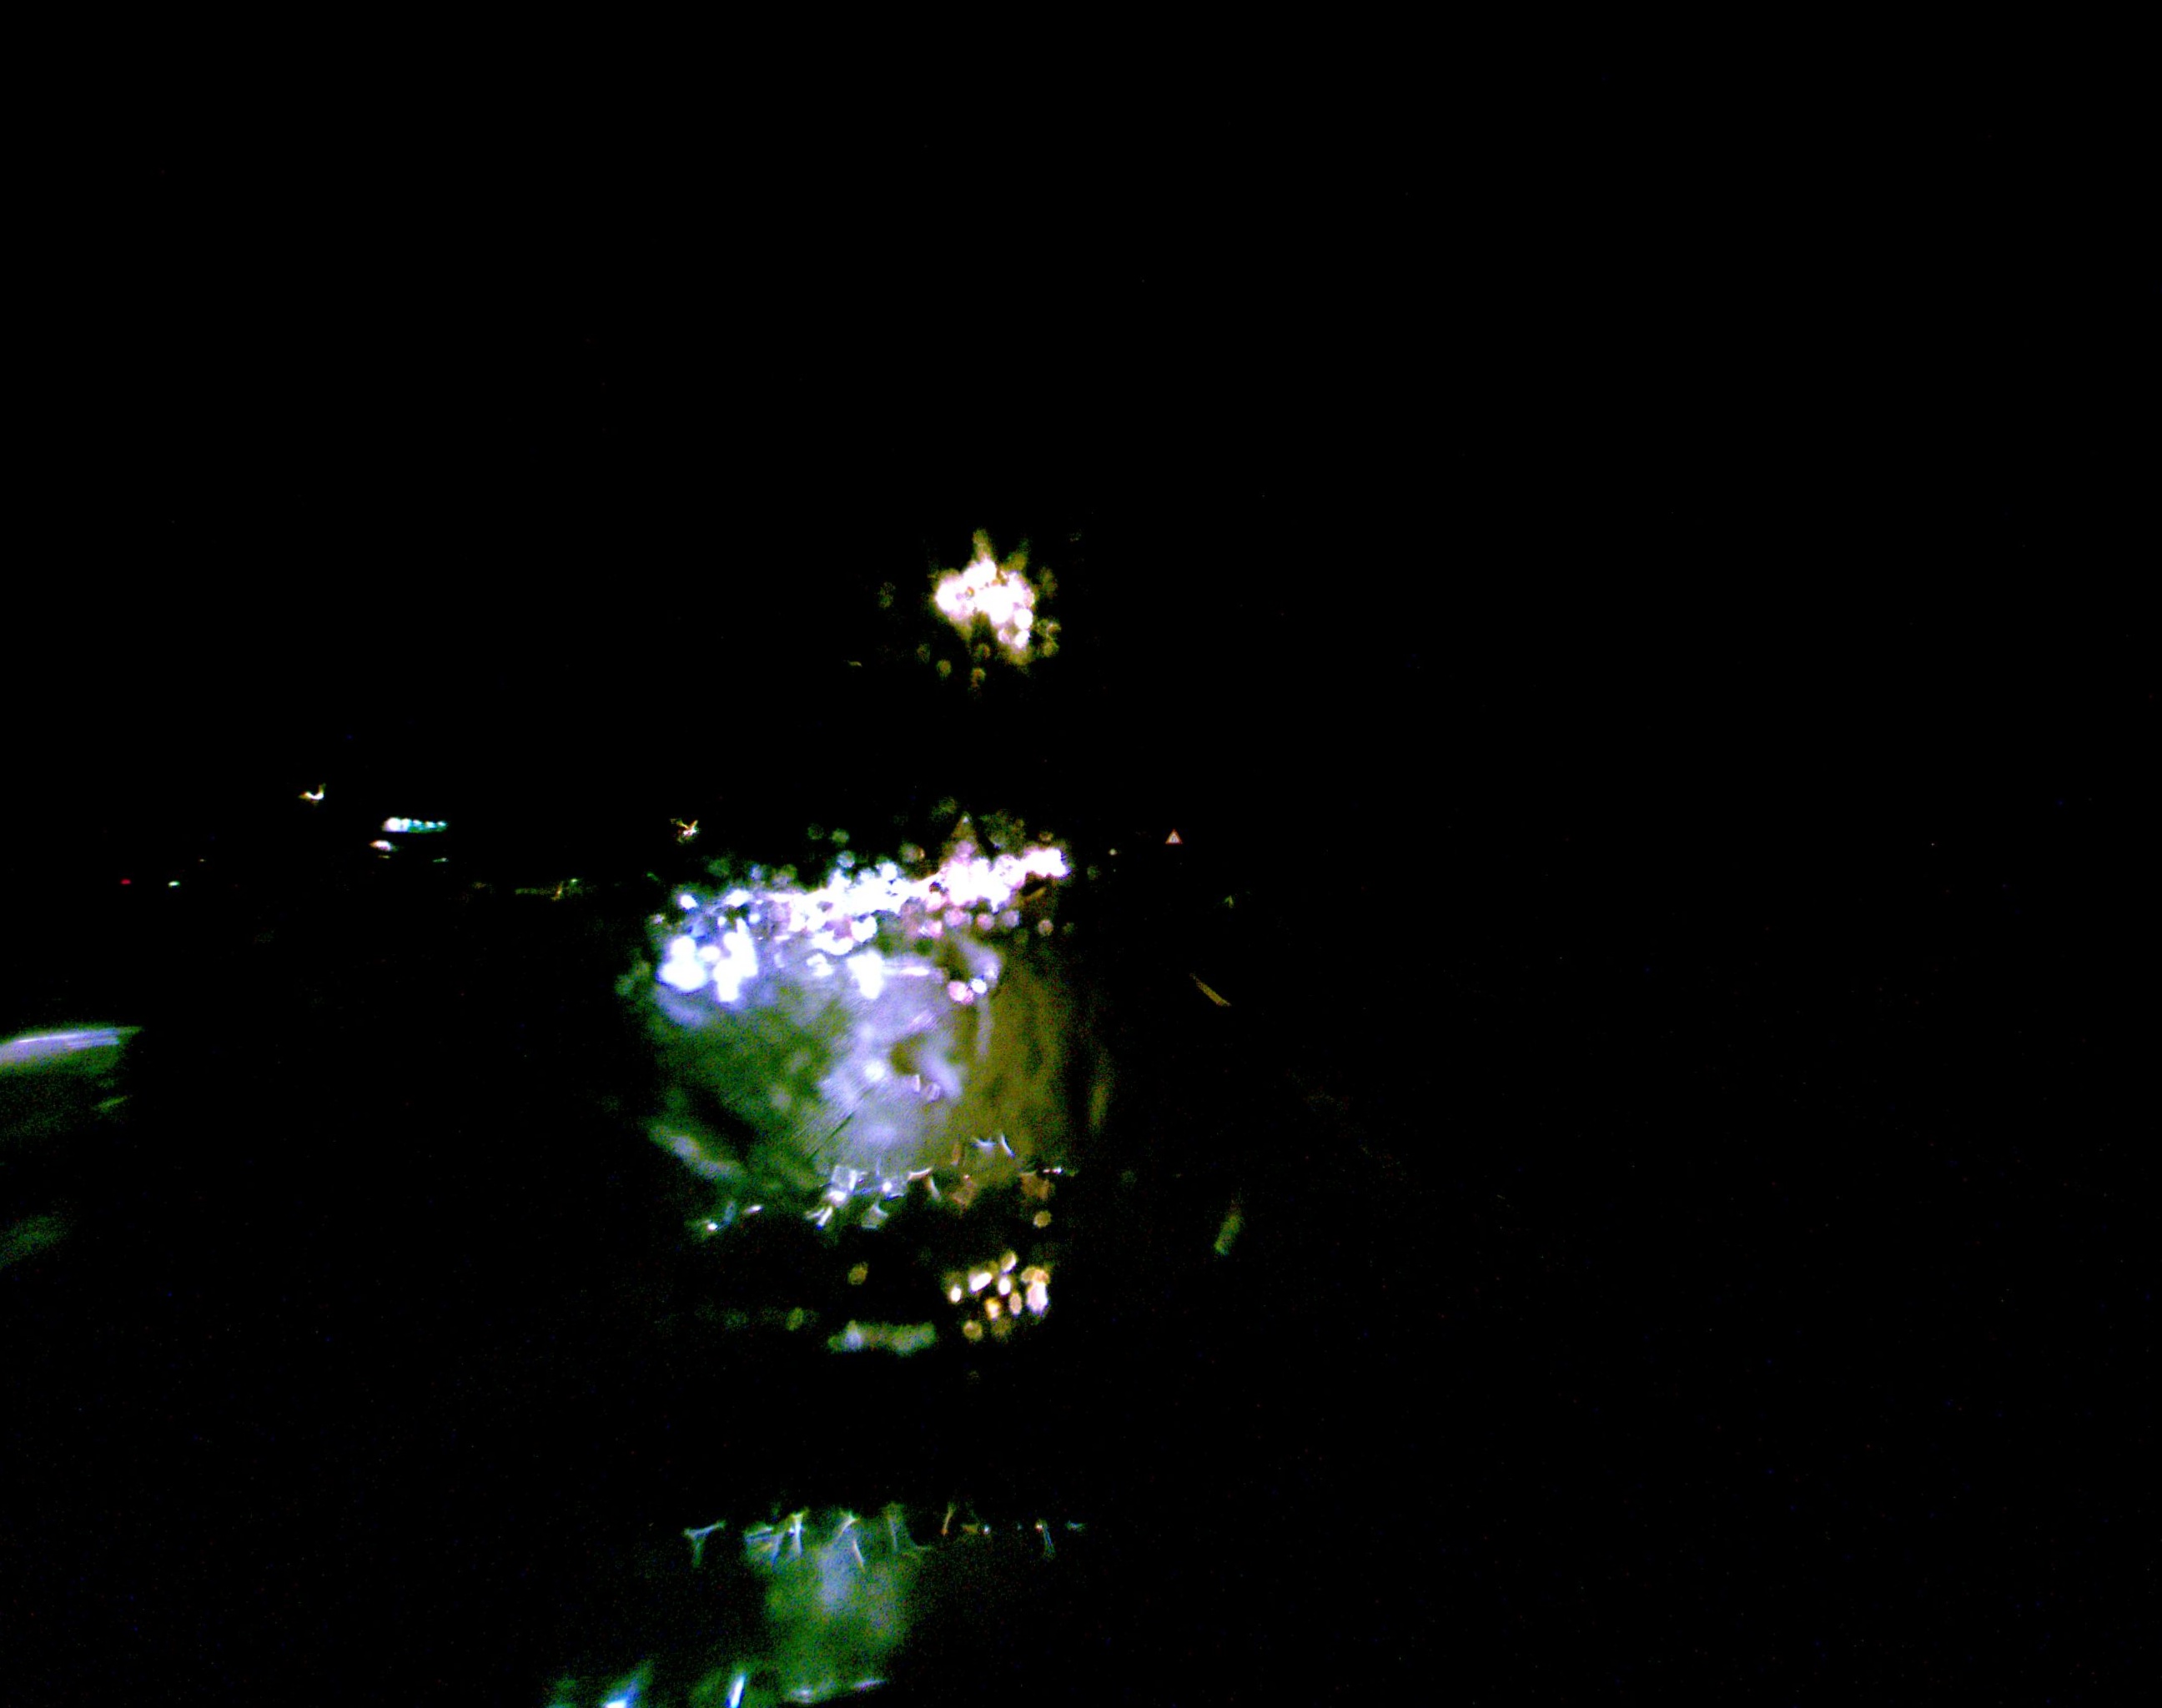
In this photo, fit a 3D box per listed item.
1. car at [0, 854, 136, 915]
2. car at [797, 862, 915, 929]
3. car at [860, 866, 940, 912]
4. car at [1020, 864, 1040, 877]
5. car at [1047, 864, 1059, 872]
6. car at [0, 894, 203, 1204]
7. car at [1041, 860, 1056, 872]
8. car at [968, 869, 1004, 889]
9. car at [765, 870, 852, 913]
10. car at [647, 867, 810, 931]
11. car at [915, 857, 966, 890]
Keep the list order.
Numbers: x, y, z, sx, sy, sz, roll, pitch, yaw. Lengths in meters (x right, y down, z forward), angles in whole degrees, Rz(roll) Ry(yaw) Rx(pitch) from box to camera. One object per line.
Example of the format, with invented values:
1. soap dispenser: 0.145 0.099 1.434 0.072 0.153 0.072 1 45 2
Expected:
1. car: -41.599 1.157 31.882 1.986 2.307 6.025 0 -1 2
2. car: -6.278 1.117 23.414 1.987 1.698 5.011 0 -1 0
3. car: -6.576 1.240 30.062 1.950 1.571 4.465 0 -1 0
4. car: -6.665 2.119 107.156 2.074 1.543 4.902 -1 0 3
5. car: -5.721 2.892 164.980 2.102 1.575 4.681 0 -1 2
6. car: -5.481 0.901 2.987 1.670 1.365 4.463 1 -1 -28
7. car: -5.321 2.002 135.458 1.985 1.865 5.324 -1 0 3
8. car: -7.996 2.072 68.972 2.172 1.558 5.208 -1 0 3
9. car: -9.716 1.315 29.324 1.816 1.453 3.602 0 -1 1
10. car: -9.767 1.171 23.141 2.351 1.556 5.159 0 -1 0
11. car: -8.771 1.186 51.375 2.145 2.014 4.997 0 -1 2
